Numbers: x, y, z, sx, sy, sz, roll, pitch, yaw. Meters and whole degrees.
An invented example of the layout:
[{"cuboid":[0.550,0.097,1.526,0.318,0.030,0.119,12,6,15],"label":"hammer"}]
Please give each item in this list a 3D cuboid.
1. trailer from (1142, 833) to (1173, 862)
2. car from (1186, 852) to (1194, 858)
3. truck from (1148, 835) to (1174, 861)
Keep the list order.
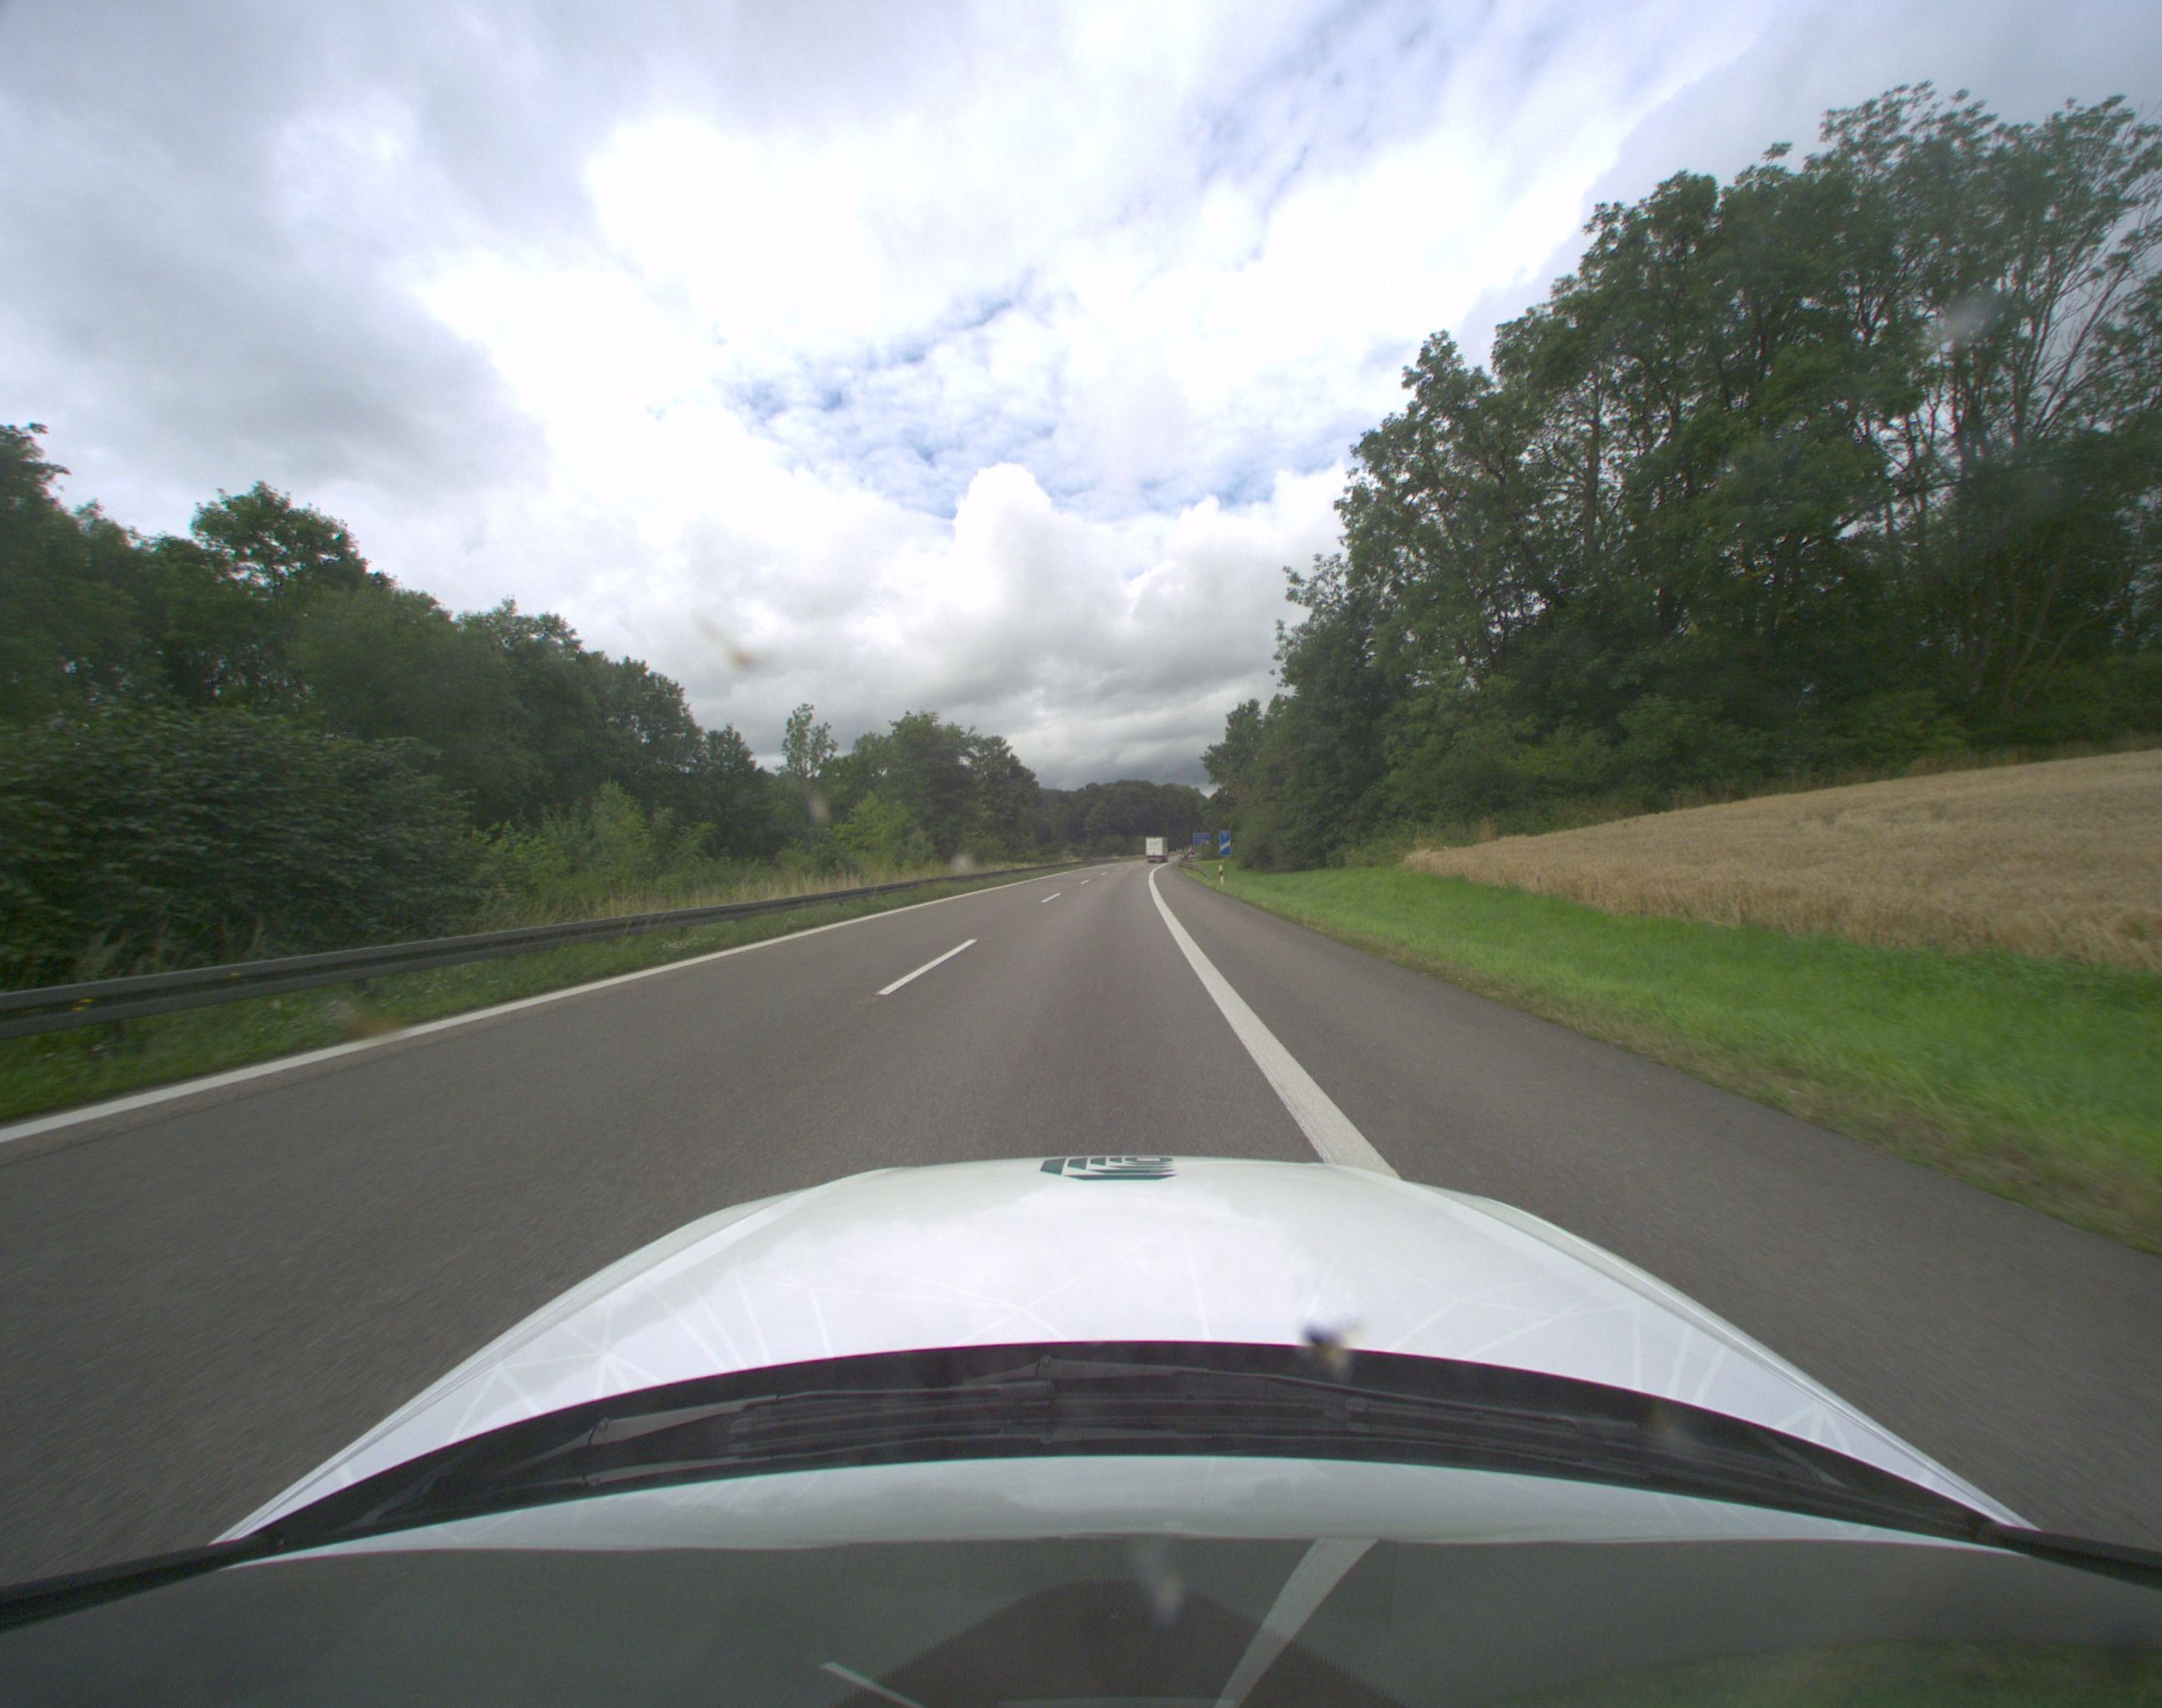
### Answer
[{"cuboid":[12.448,-1.000,130.519,3.783,4.174,14.847,-2,0,9],"label":"trailer"},{"cuboid":[31.294,0.358,233.902,1.890,1.795,4.012,-1,-1,11],"label":"car"},{"cuboid":[13.533,-0.982,137.055,3.765,4.132,8.286,-2,0,9],"label":"truck"}]
